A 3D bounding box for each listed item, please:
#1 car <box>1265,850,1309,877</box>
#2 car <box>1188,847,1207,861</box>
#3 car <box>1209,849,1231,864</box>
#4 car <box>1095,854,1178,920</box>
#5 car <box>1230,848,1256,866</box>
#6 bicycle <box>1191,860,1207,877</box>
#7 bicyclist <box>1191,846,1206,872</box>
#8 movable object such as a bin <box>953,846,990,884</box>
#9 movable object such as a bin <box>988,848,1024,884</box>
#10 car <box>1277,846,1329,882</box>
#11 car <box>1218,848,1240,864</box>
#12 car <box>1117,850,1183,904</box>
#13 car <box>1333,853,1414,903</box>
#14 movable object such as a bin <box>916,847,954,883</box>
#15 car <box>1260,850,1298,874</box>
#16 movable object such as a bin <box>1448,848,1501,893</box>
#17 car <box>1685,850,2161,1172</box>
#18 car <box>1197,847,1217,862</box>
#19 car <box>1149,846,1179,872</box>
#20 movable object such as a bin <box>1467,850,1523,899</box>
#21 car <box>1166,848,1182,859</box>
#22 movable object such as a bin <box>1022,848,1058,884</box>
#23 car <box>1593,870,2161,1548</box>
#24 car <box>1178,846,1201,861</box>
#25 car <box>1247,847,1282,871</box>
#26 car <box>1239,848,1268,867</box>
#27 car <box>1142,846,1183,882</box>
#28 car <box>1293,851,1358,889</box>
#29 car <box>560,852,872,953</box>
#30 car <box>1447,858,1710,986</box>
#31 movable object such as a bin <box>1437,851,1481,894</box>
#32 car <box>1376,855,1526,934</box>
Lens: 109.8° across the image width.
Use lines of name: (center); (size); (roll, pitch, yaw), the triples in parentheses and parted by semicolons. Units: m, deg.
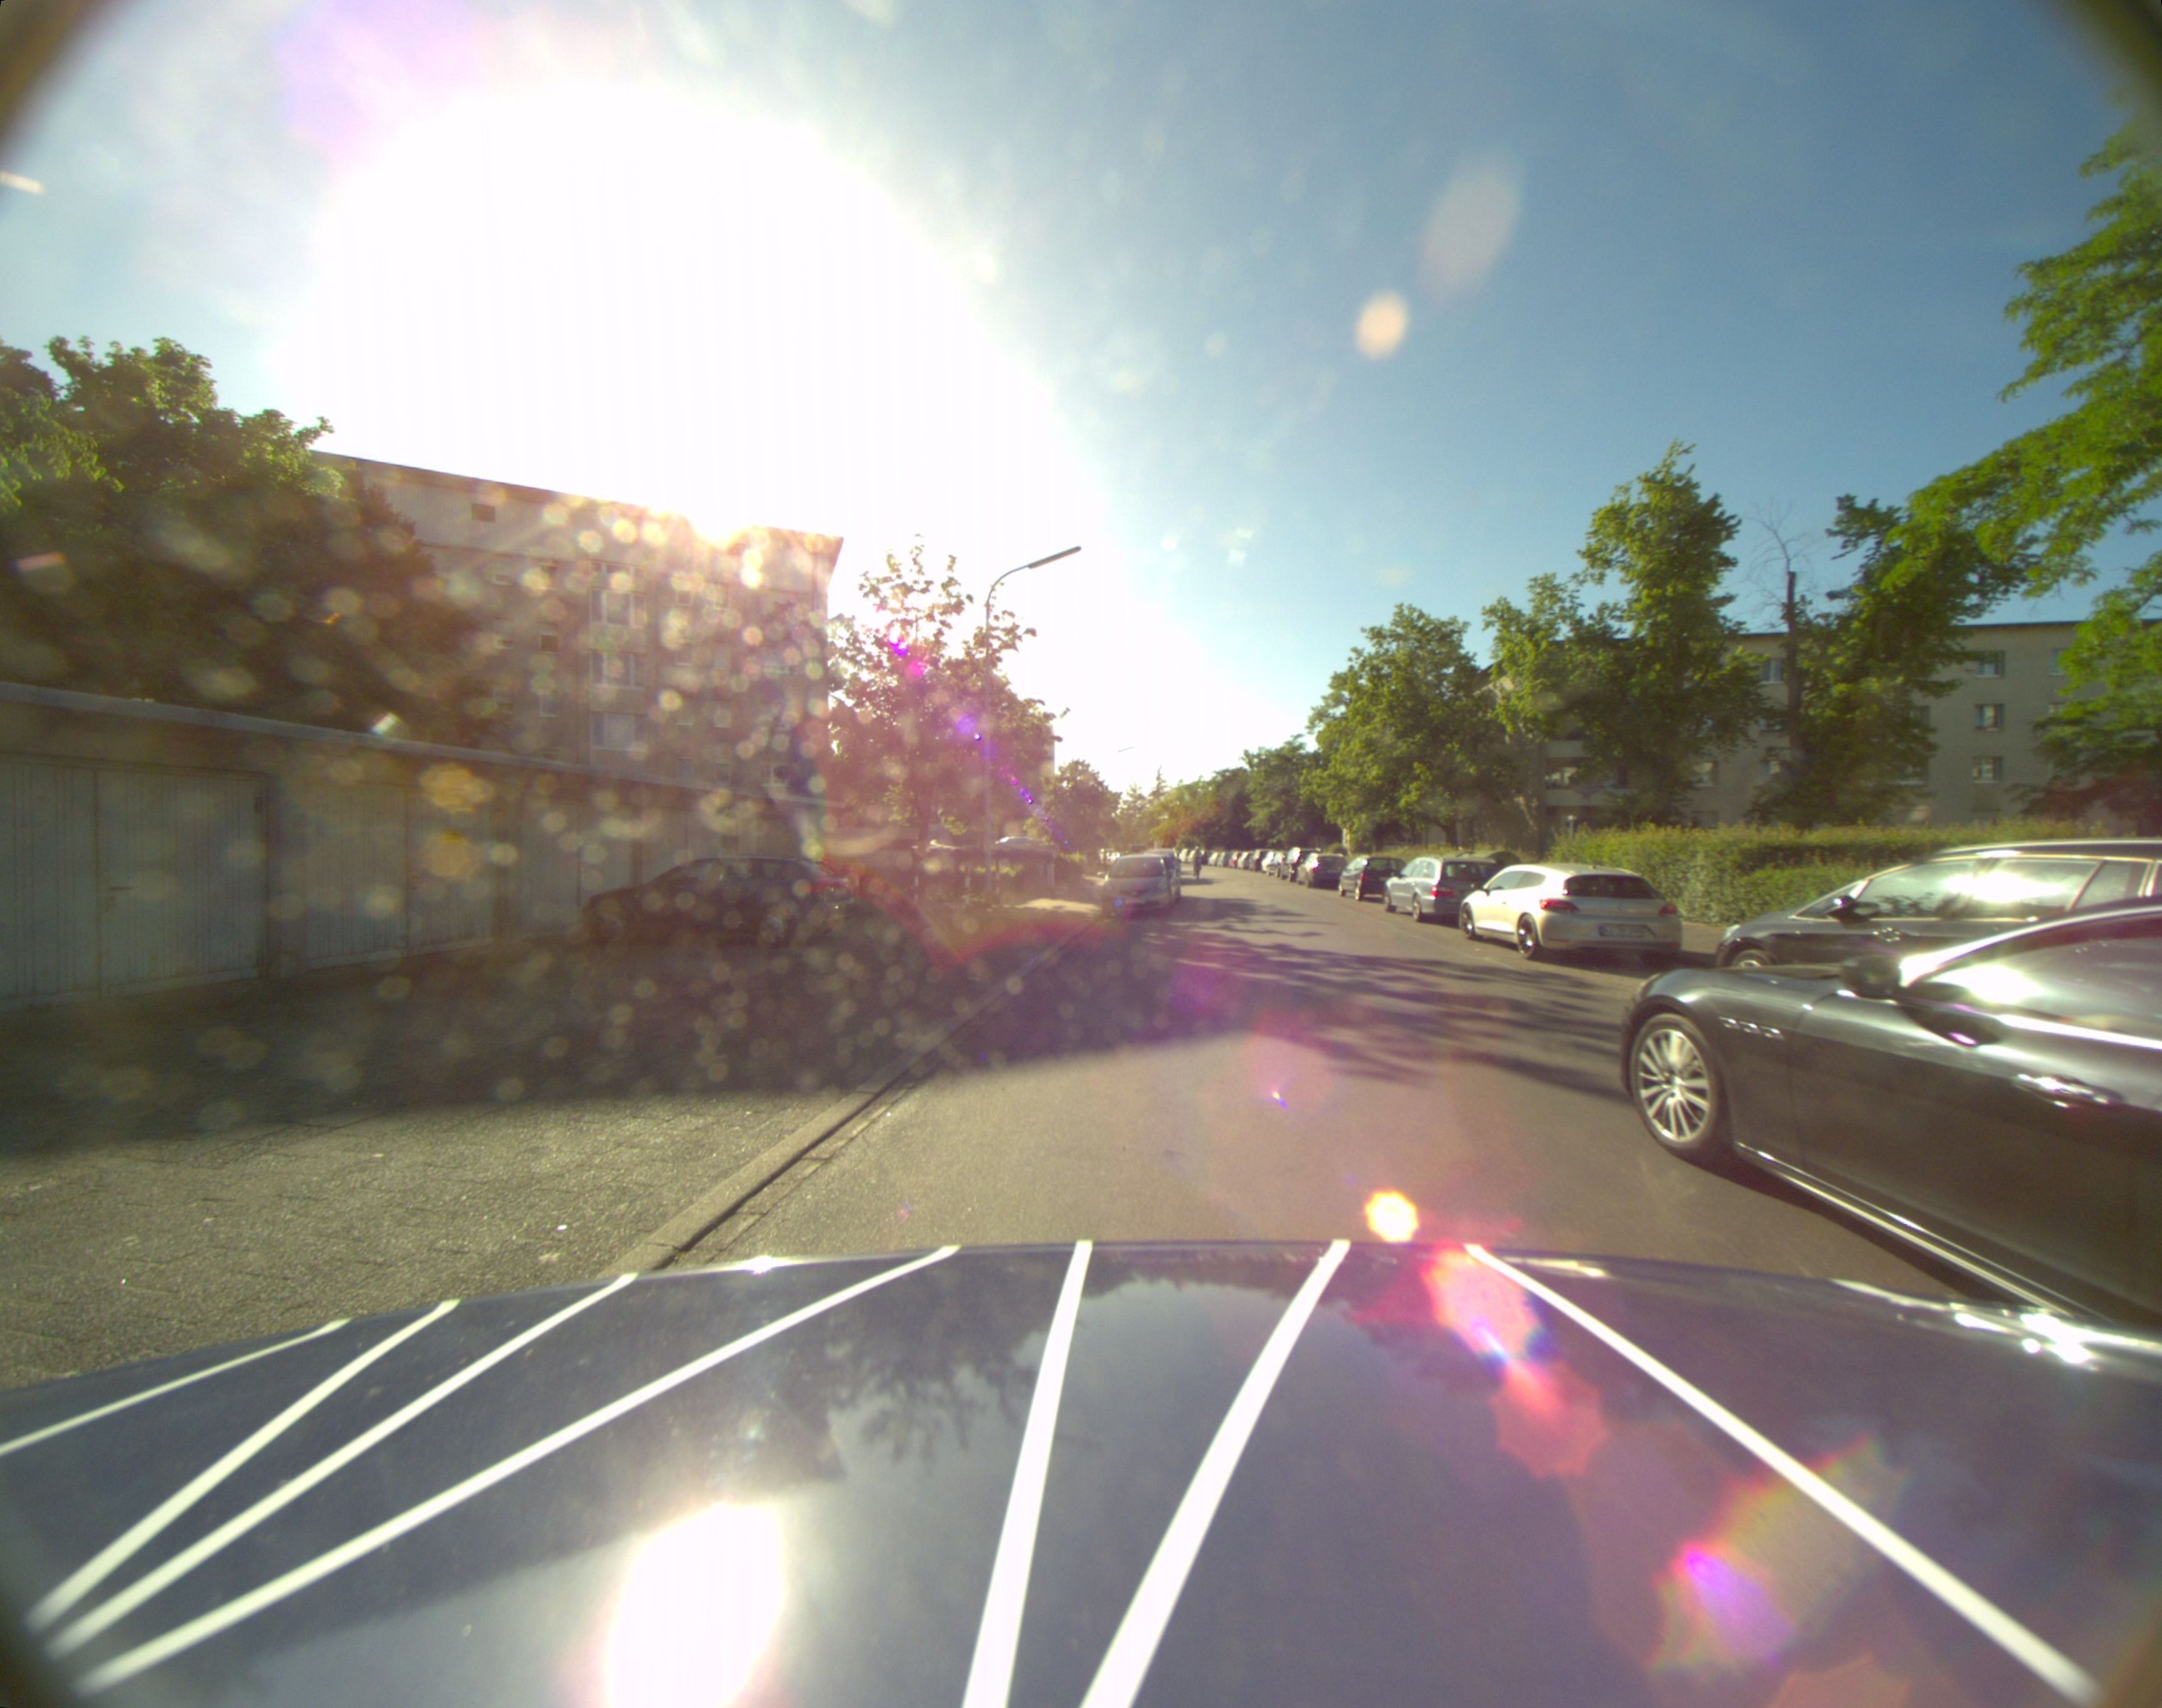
car: (11.730, 0.513, 43.452); (1.641, 1.377, 4.172); (1, 1, 4)
car: (14.216, 0.027, 92.907); (1.658, 1.621, 3.690); (1, 1, -1)
car: (14.518, 0.243, 79.547); (1.657, 1.470, 3.735); (1, 1, 0)
car: (1.526, 0.776, 19.543); (1.807, 1.486, 3.797); (-1, 1, 9)
car: (14.293, 0.263, 67.221); (1.634, 1.470, 3.880); (1, 1, 3)
bicycle: (6.319, 0.766, 40.810); (0.823, 0.896, 2.204); (0, 1, 9)
bicyclist: (6.297, 0.252, 40.667); (0.812, 1.348, 1.092); (0, 1, 9)
movable object such as a bin: (-4.520, 0.439, 31.487); (1.327, 1.528, 1.029); (-1, 1, 2)
movable object such as a bin: (-3.104, 0.484, 31.451); (1.327, 1.423, 1.029); (0, 1, 2)
car: (11.109, 0.446, 38.210); (1.757, 1.659, 4.392); (1, 1, 7)
car: (14.486, 0.145, 74.254); (1.657, 1.470, 3.106); (1, 1, 3)
car: (2.337, 0.676, 24.546); (1.834, 1.537, 4.643); (0, 1, 9)
car: (9.510, 0.738, 24.956); (1.651, 1.455, 3.497); (1, 1, 7)
movable object such as a bin: (-6.043, 0.447, 31.496); (1.325, 1.472, 1.029); (-1, 1, 2)
car: (12.819, 0.466, 49.421); (1.757, 1.428, 4.152); (1, 1, 7)
movable object such as a bin: (12.847, 0.519, 24.857); (1.121, 1.358, 1.257); (-3, 1, 6)
car: (6.637, 0.833, 5.284); (1.757, 1.626, 4.372); (2, 1, 7)
car: (14.365, 0.072, 86.854); (1.657, 1.621, 4.072); (1, 1, 1)
car: (5.458, 0.298, 50.321); (1.758, 1.664, 4.414); (-1, 1, 4)
movable object such as a bin: (12.665, 0.614, 23.296); (1.004, 1.407, 1.327); (-3, 1, 6)
car: (13.603, -0.140, 110.906); (1.658, 1.558, 3.688); (1, 1, -4)
movable object such as a bin: (-1.681, 0.497, 31.369); (1.327, 1.420, 1.070); (2, 1, 2)
car: (3.419, 0.849, 1.687); (1.914, 1.468, 4.573); (1, 1, 7)
car: (14.092, -0.076, 98.871); (1.885, 1.858, 5.437); (1, 1, -3)
car: (13.332, 0.340, 55.345); (1.810, 1.596, 4.434); (1, 1, 5)
car: (14.061, 0.244, 62.109); (1.810, 1.470, 3.941); (1, 1, 5)
car: (4.064, 0.444, 37.270); (1.757, 1.617, 4.498); (0, 1, 9)
car: (10.368, 0.639, 32.537); (1.757, 1.377, 4.676); (1, 1, 7)
car: (-5.771, 0.733, 12.336); (4.191, 1.486, 1.818); (-1, 1, 5)
car: (7.222, 0.853, 11.615); (1.757, 1.417, 4.212); (2, 2, 9)
movable object such as a bin: (13.079, 0.611, 26.304); (0.896, 1.407, 1.327); (-3, 1, 6)
car: (8.335, 0.804, 17.643); (1.757, 1.481, 4.904); (3, 1, 9)
